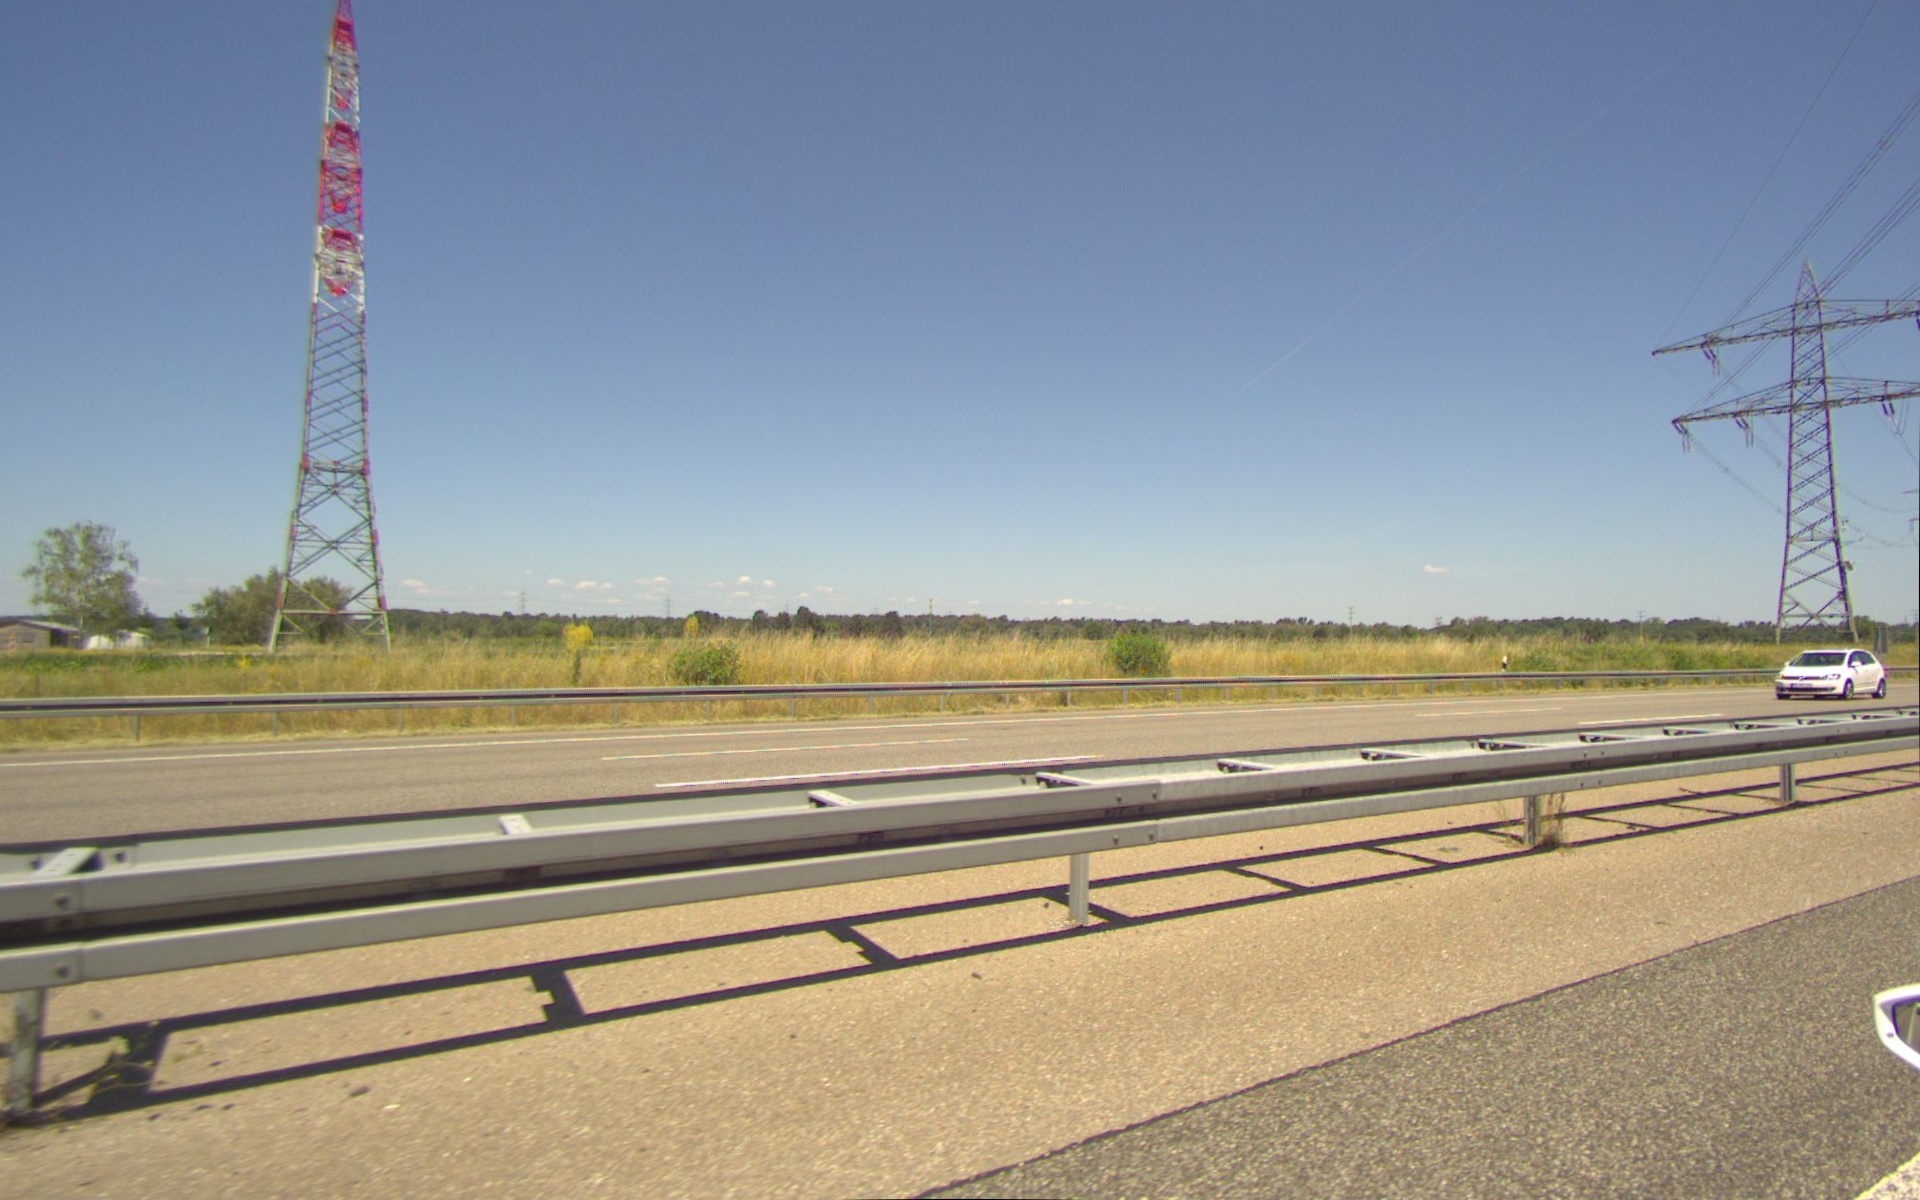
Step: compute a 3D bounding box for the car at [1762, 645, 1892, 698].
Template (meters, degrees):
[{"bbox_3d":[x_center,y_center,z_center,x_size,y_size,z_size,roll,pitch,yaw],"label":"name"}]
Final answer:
[{"bbox_3d":[27.078,2.208,31.351,4.462,1.543,1.700,2,-5,-31],"label":"car"}]
